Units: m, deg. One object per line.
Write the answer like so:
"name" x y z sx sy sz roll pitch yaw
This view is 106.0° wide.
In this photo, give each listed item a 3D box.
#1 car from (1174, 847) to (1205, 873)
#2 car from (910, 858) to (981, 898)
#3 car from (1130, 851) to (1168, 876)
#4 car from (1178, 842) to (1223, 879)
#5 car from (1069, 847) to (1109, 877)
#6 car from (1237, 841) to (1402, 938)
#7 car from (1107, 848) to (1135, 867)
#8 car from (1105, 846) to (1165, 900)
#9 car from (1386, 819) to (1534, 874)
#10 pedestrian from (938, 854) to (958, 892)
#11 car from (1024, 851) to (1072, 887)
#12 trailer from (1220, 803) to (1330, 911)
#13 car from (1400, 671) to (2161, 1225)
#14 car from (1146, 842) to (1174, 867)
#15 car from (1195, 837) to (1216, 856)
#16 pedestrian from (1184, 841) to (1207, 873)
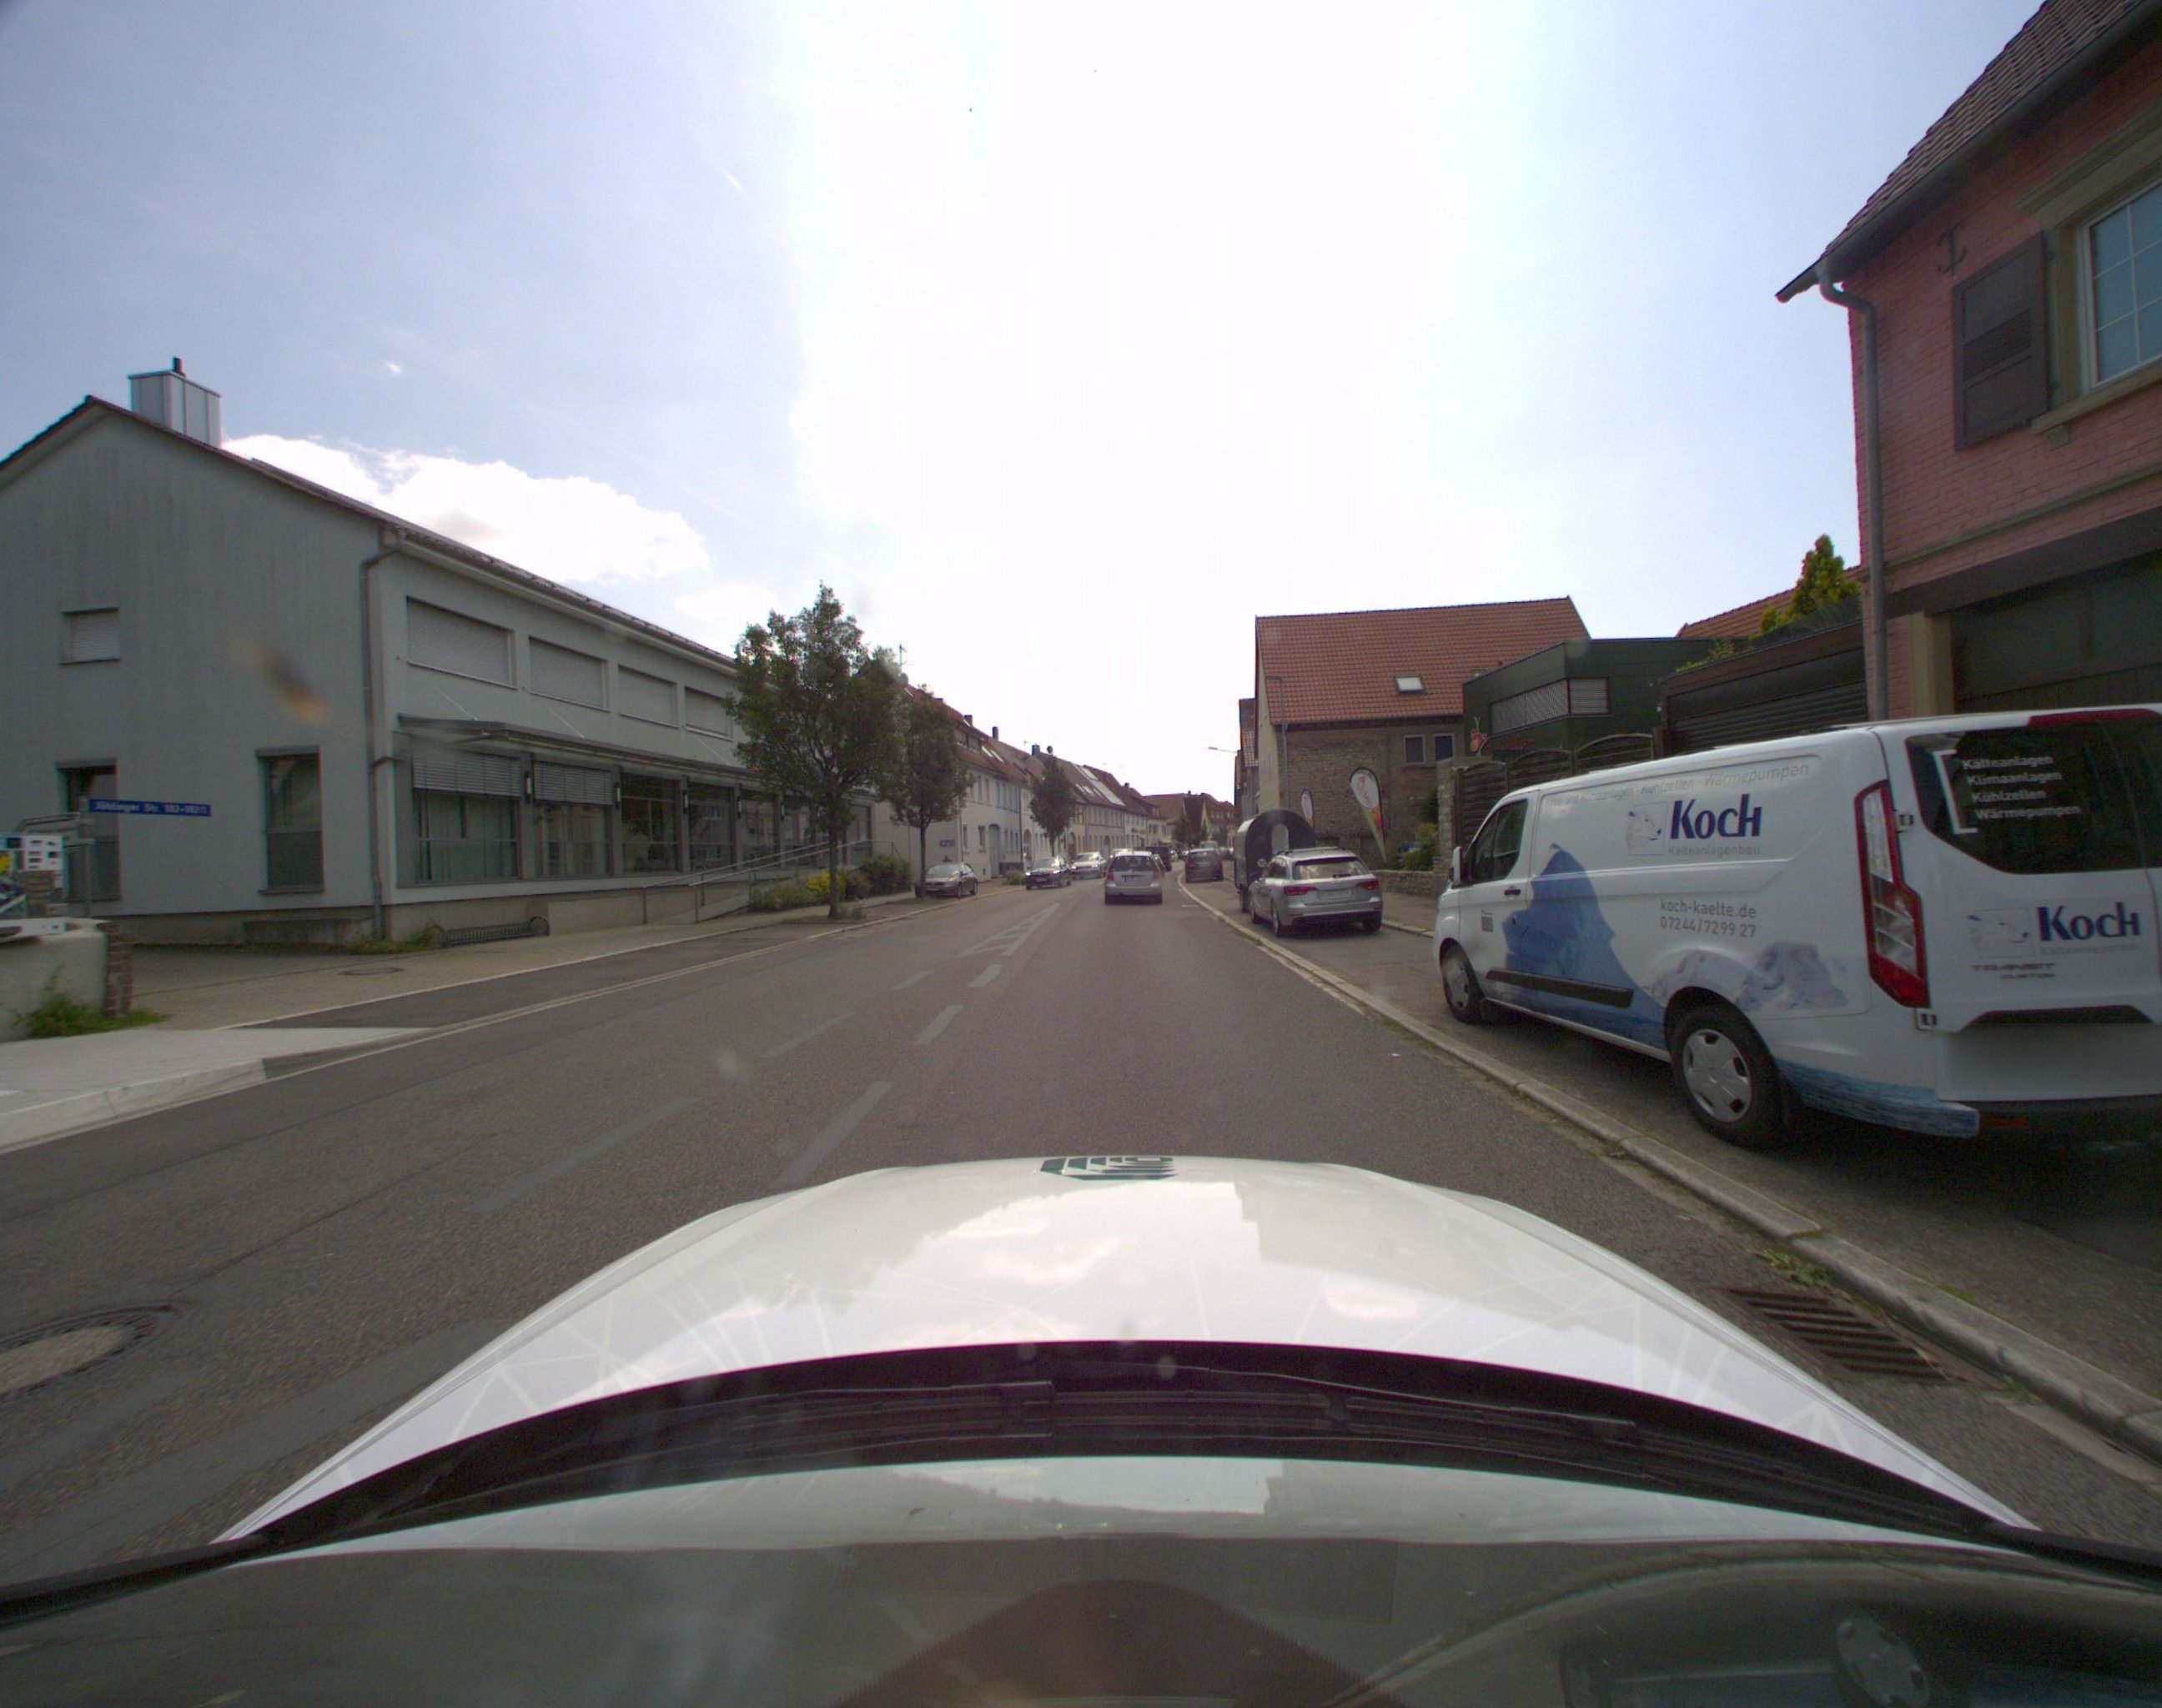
"car" 7.429 0.395 55.401 1.849 1.626 4.208 -3 -1 10
"car" -5.448 0.941 33.306 1.795 1.460 4.165 -2 0 6
"car" 3.977 0.523 47.241 1.934 1.407 4.009 0 0 8
"car" 5.815 0.287 39.409 1.982 1.559 4.011 -4 0 9
"car" 0.550 0.474 51.638 1.944 1.784 4.662 -1 0 8
"car" 4.278 0.563 15.409 1.868 1.481 4.677 -2 0 2
"car" 4.177 0.348 84.226 2.077 1.884 4.015 -2 0 13
"car" 1.665 0.581 26.040 1.762 1.594 4.002 0 0 2
"car" 15.297 -0.282 33.034 5.035 1.950 2.000 -2 0 -1
"pedestrian" -6.428 0.923 39.324 0.736 1.801 0.643 -3 -1 3
"car" -1.552 0.704 39.744 1.734 1.526 4.026 -4 0 6
"trailer" 4.715 0.061 20.294 1.838 2.354 3.590 -3 0 1
"car" 4.053 0.314 5.487 1.885 1.982 4.933 -5 0 2
"car" 6.167 0.071 63.334 1.757 1.888 4.460 0 0 11
"car" 15.709 -0.919 102.324 2.220 2.222 4.014 -3 -1 13
"pedestrian" 6.816 0.145 48.346 1.087 1.821 1.475 -2 0 15
